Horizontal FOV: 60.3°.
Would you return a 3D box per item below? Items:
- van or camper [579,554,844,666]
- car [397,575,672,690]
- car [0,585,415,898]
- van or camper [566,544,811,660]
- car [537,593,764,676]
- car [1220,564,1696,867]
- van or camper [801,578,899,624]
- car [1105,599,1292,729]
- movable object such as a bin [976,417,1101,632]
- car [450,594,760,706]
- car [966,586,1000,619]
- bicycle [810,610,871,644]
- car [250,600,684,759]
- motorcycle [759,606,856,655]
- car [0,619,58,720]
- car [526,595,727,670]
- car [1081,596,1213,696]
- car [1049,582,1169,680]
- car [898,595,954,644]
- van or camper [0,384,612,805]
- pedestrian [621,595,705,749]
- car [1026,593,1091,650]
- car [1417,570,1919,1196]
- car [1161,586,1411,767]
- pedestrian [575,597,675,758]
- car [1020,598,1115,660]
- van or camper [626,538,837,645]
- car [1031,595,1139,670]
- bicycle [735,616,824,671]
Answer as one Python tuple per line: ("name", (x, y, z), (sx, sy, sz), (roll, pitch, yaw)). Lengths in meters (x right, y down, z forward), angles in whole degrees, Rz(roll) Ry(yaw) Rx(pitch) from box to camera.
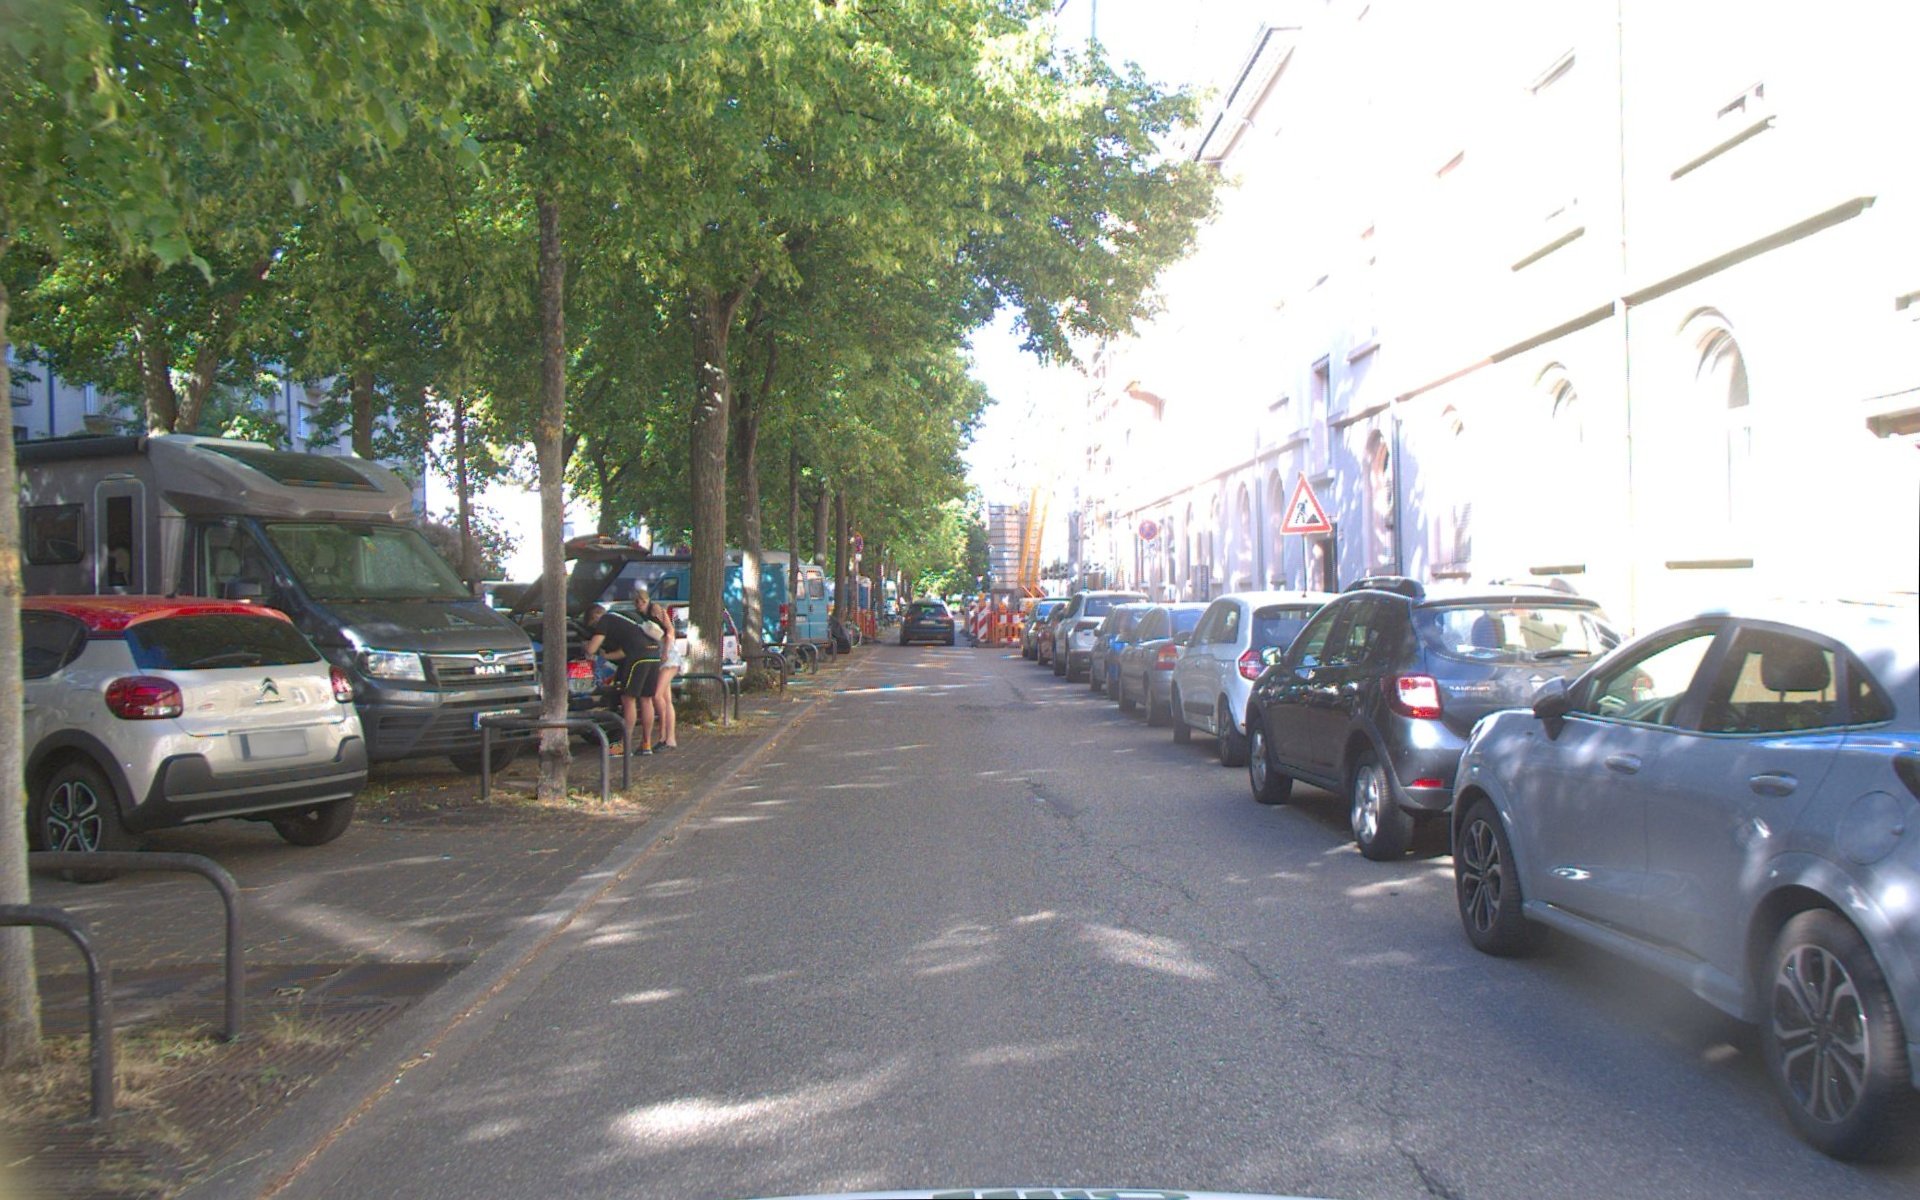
("van or camper", (-5.487, 0.228, 36.458), (5.386, 2.315, 2.220), (-1, 0, 23))
("car", (-7.159, 0.518, 27.700), (4.460, 1.795, 1.807), (-1, 0, 30))
("car", (-5.347, 0.725, 9.864), (3.910, 1.533, 1.755), (-1, 0, 28))
("van or camper", (-6.701, 0.072, 40.683), (5.756, 2.683, 2.252), (-1, 0, 29))
("car", (-5.796, 0.626, 30.948), (3.867, 1.468, 1.844), (-1, 0, 27))
("car", (3.060, 0.614, 11.116), (1.688, 1.624, 4.154), (-1, 0, -4))
("van or camper", (-6.346, 0.069, 95.214), (5.235, 2.518, 2.289), (-1, 0, 31))
("car", (2.898, 0.722, 20.880), (1.598, 1.437, 4.087), (-1, 0, -2))
("movable object such as a bin", (2.605, -2.415, 54.867), (3.415, 6.878, 2.363), (0, 0, 31))
("car", (-5.140, 0.679, 23.778), (4.393, 1.468, 1.728), (-1, 0, 32))
("car", (1.314, 0.123, 96.512), (1.761, 1.832, 3.584), (-1, 0, -2))
("bicycle", (-3.692, 0.844, 51.128), (1.858, 1.024, 0.430), (-1, 0, 23))
("car", (-5.057, 0.753, 16.887), (4.230, 1.449, 1.674), (-1, 0, 26))
("motorcycle", (-4.111, 0.818, 44.671), (2.495, 1.280, 0.763), (-1, 0, 7))
("car", (-15.561, 1.089, 25.179), (1.630, 1.525, 3.769), (-1, 0, -1))
("car", (-6.912, 0.647, 34.195), (3.911, 1.456, 1.718), (-1, 0, 30))
("car", (2.870, 0.668, 26.049), (1.585, 1.437, 3.787), (-1, 0, -1))
("car", (2.751, 0.530, 31.404), (1.779, 1.703, 4.672), (-1, 0, -1))
("car", (-1.146, 0.615, 54.555), (1.761, 1.530, 3.584), (-1, 0, -2))
("van or camper", (-6.609, 0.008, 14.335), (7.084, 2.981, 2.312), (-1, 0, 26))
("pedestrian", (-2.914, 0.695, 16.251), (0.602, 1.481, 0.519), (-1, 0, 22))
("car", (2.747, 0.578, 46.455), (1.560, 1.557, 2.779), (0, 0, -2))
("car", (3.131, 0.683, 5.847), (1.688, 1.555, 4.155), (-1, 0, -3))
("car", (3.074, 0.656, 16.256), (1.598, 1.561, 3.591), (-1, 0, -2))
("pedestrian", (-3.166, 0.719, 15.671), (0.695, 1.481, 0.596), (-1, 0, 22))
("car", (2.630, 0.684, 41.569), (1.953, 1.434, 4.499), (0, 0, -2))
("van or camper", (-7.460, -0.239, 53.775), (6.527, 3.297, 2.492), (-1, 0, 28))
("car", (2.722, 0.679, 36.935), (1.756, 1.550, 3.959), (-1, 0, -5))
("bicycle", (-3.577, 0.848, 32.814), (1.702, 1.023, 0.506), (-1, 0, -32))
